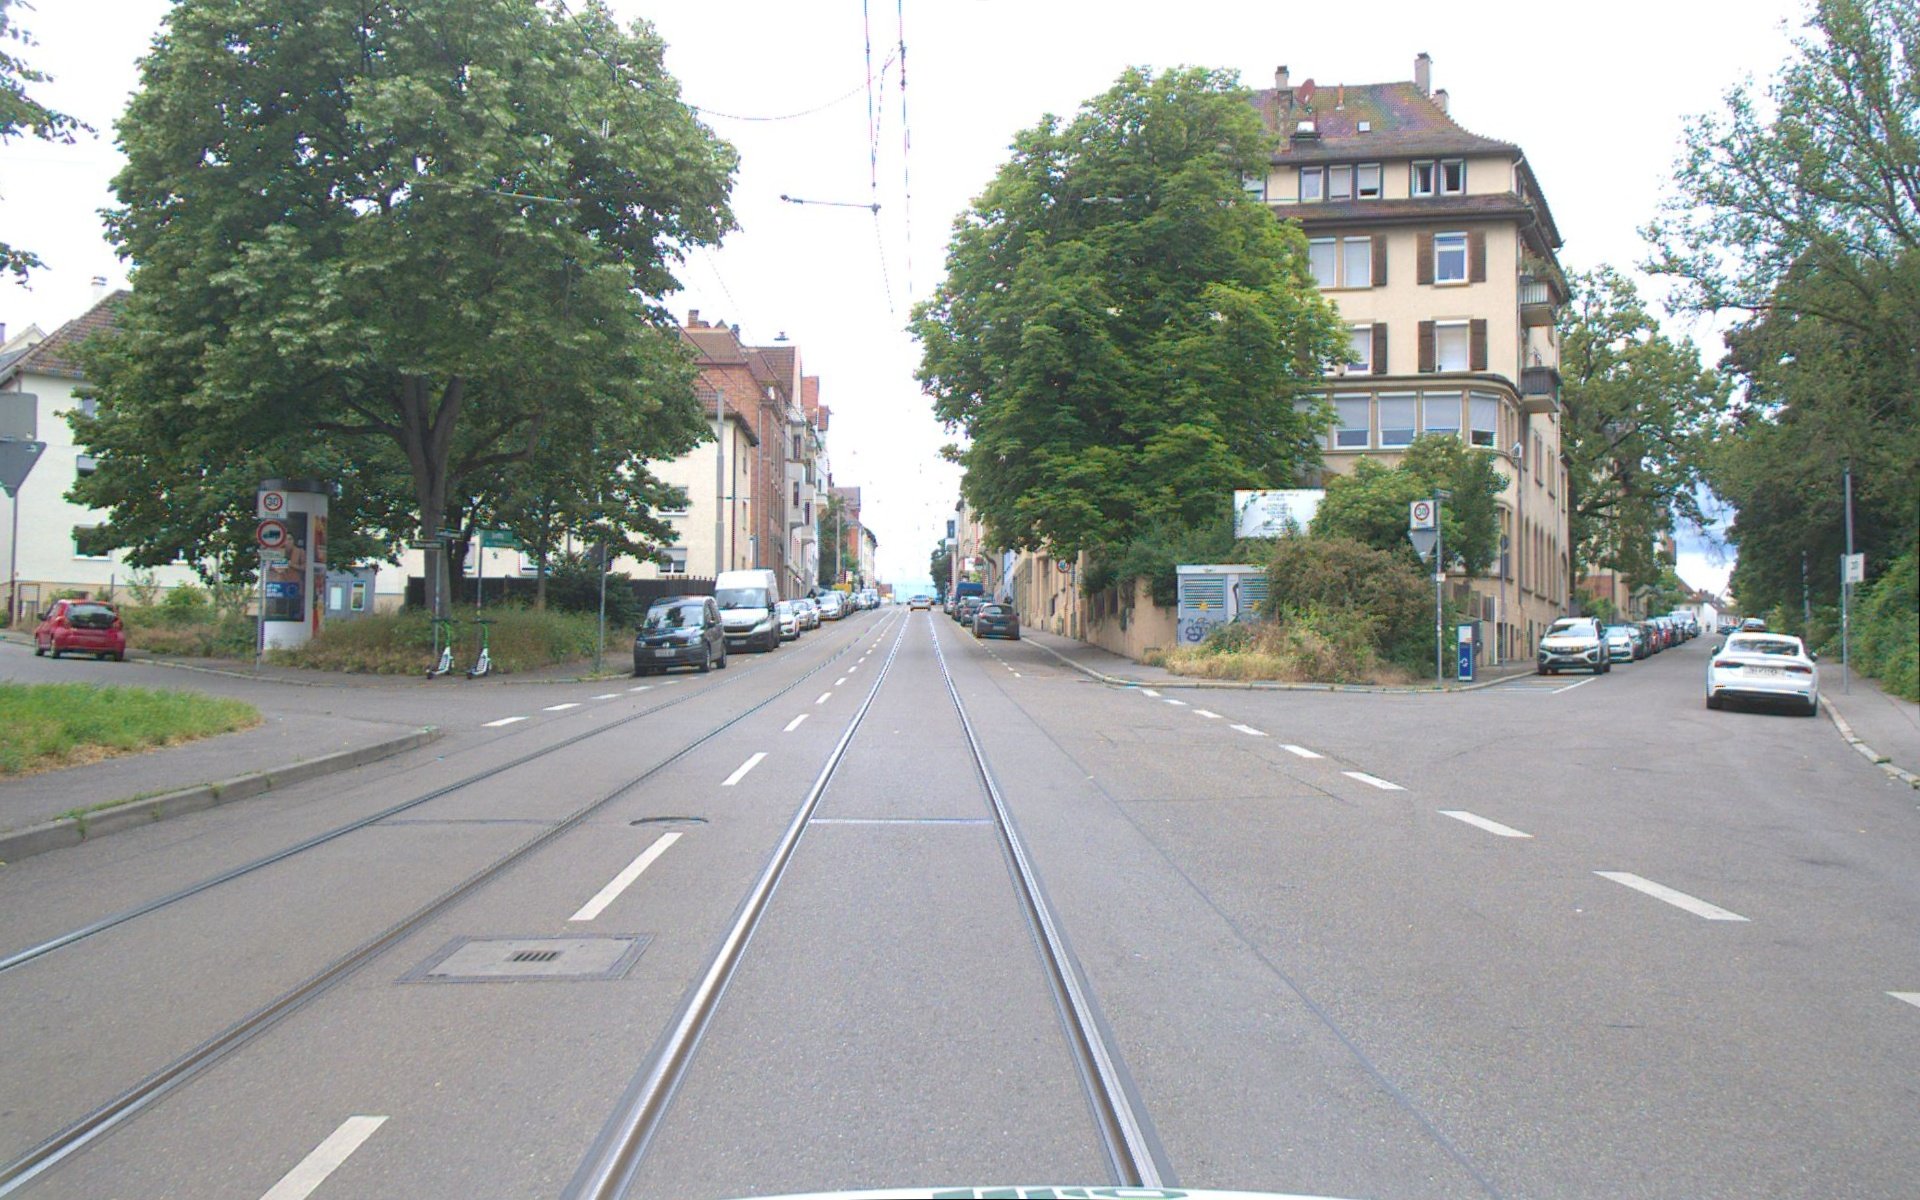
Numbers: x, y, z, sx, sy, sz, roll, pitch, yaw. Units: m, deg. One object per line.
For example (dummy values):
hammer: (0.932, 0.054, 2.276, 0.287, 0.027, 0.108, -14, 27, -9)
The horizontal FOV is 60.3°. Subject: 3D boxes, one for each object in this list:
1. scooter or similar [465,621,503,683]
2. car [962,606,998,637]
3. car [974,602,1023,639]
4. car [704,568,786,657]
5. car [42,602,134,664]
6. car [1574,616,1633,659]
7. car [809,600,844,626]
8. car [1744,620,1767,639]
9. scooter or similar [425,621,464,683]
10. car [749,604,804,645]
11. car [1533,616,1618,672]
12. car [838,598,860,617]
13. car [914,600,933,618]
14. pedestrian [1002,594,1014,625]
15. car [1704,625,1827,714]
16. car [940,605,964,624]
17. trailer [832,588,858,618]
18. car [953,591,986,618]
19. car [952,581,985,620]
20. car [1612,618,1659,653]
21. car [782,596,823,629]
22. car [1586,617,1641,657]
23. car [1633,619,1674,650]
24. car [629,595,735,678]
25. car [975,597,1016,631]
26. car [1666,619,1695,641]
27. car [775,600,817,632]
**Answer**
scooter or similar: (-9.765, 1.047, 33.945, 0.305, 1.165, 1.717, 1, 1, -1)
car: (1.074, 1.146, 90.544, 1.790, 1.545, 4.027, 3, 0, -1)
car: (1.562, 0.857, 69.186, 1.802, 1.427, 4.166, 2, -1, -1)
car: (-7.023, 0.373, 54.671, 2.115, 2.652, 6.215, -3, 0, -3)
car: (-22.209, 0.816, 42.069, 1.633, 1.440, 3.686, 2, 0, -34)
car: (24.442, 1.414, 62.762, 1.710, 1.568, 3.783, -2, -2, 27)
car: (-8.177, 0.779, 101.708, 1.790, 1.454, 4.838, -2, 0, -1)
car: (69.124, 2.547, 143.755, 1.710, 1.568, 3.783, -2, -2, 27)
scooter or similar: (-10.493, 1.050, 33.699, 0.305, 1.165, 1.717, 1, 1, -1)
car: (-7.111, 0.910, 64.457, 1.684, 1.427, 4.312, -3, 0, -1)
car: (18.173, 1.280, 48.750, 1.805, 1.561, 4.498, -1, -1, 28)
car: (-9.237, 0.596, 137.512, 1.662, 1.494, 3.022, -2, 0, -1)
car: (-3.221, 0.774, 145.360, 1.638, 1.539, 3.795, 0, 0, -3)
pedestrian: (2.797, 0.560, 96.568, 0.530, 1.711, 0.515, -4, -2, -10)
car: (14.962, 1.223, 30.839, 1.857, 1.405, 4.596, 3, 1, 25)
car: (-0.631, 1.102, 129.811, 1.715, 1.415, 4.305, 3, 0, -3)
trailer: (-8.734, 0.184, 125.789, 1.713, 2.193, 4.070, -2, 0, -1)
car: (0.572, 0.275, 102.739, 1.744, 1.557, 4.190, 4, 0, -2)
car: (0.548, 0.060, 108.199, 1.953, 2.418, 5.054, 1, -1, -1)
car: (31.388, 1.665, 76.767, 1.710, 1.568, 3.783, -2, -2, 27)
car: (-7.845, 0.597, 82.601, 1.791, 1.454, 4.624, -3, 0, -3)
car: (26.428, 1.492, 66.806, 1.710, 1.568, 3.783, -2, -2, 27)
car: (37.245, 1.863, 88.786, 1.710, 1.568, 3.783, -2, -2, 27)
car: (-6.712, 0.845, 40.367, 1.726, 1.806, 4.668, -3, 0, 0)
car: (1.608, 0.611, 75.522, 1.661, 1.428, 3.667, 3, 0, -1)
car: (53.270, 2.250, 122.262, 1.710, 1.568, 3.783, -2, -2, 27)
car: (-7.718, 0.736, 78.044, 1.568, 1.392, 3.807, -3, 0, 0)
